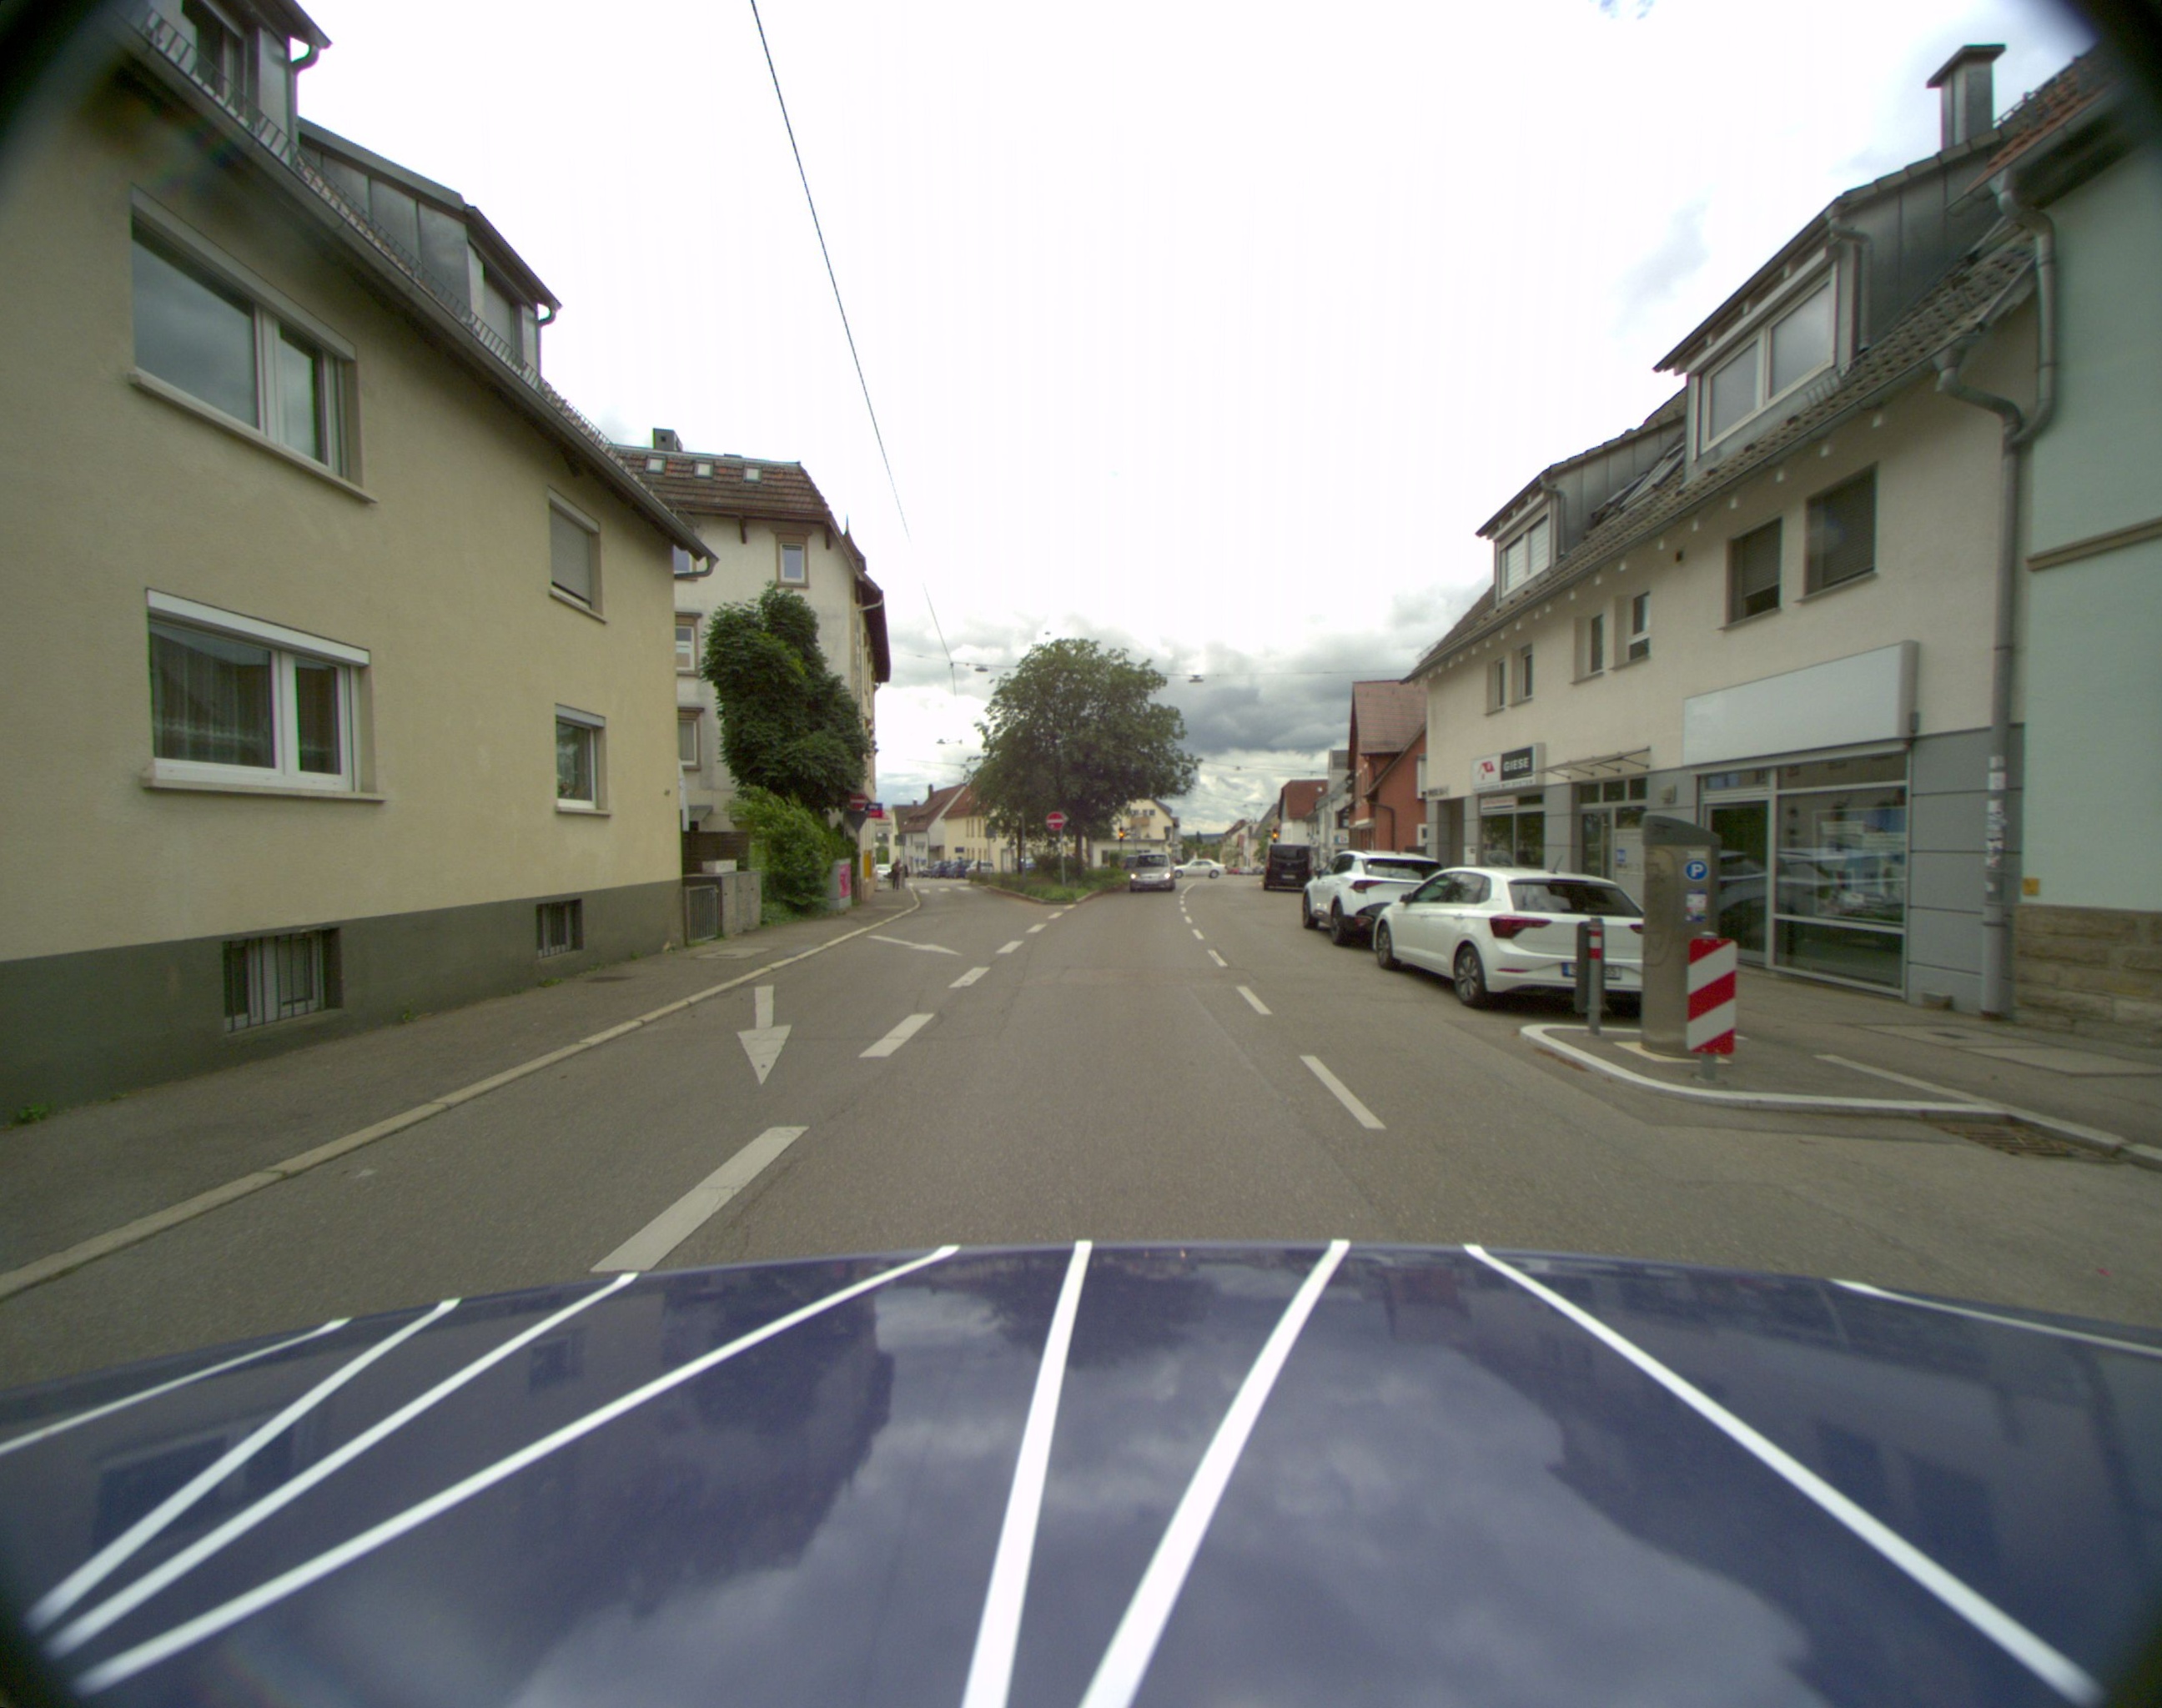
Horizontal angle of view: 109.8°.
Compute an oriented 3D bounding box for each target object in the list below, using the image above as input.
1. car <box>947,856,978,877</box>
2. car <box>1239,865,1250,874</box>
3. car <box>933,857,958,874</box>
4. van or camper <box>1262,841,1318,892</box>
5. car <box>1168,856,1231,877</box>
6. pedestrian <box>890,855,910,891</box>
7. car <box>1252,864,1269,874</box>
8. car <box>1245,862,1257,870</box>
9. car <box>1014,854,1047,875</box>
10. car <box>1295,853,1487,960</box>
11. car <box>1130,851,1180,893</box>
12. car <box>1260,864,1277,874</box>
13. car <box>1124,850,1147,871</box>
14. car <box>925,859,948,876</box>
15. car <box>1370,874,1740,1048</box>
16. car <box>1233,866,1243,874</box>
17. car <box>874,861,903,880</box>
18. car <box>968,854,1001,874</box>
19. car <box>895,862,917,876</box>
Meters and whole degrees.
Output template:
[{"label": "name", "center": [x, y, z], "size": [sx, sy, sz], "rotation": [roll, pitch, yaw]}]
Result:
[{"label": "car", "center": [-11.268, 1.202, 71.992], "size": [1.777, 1.931, 4.317], "rotation": [2, -3, -23]}, {"label": "car", "center": [29.344, 2.785, 136.327], "size": [1.652, 1.438, 3.777], "rotation": [1, -1, 9]}, {"label": "car", "center": [-14.069, 1.223, 78.870], "size": [1.724, 1.720, 3.994], "rotation": [-2, -1, -22]}, {"label": "van or camper", "center": [8.964, 0.505, 32.968], "size": [2.076, 1.994, 4.863], "rotation": [2, 1, 13]}, {"label": "car", "center": [9.054, 0.936, 58.268], "size": [4.563, 1.436, 2.001], "rotation": [2, 0, 5]}, {"label": "pedestrian", "center": [-8.951, 0.927, 37.556], "size": [0.861, 1.722, 1.021], "rotation": [-2, -1, -14]}, {"label": "car", "center": [27.364, 2.308, 116.044], "size": [1.841, 1.436, 4.002], "rotation": [2, -1, 4]}, {"label": "car", "center": [29.248, 2.081, 130.925], "size": [1.652, 1.438, 3.814], "rotation": [1, -1, 7]}, {"label": "car", "center": [-4.693, 0.975, 69.868], "size": [1.904, 1.791, 4.887], "rotation": [-2, -1, -18]}, {"label": "car", "center": [5.433, 0.818, 14.103], "size": [2.002, 1.623, 4.860], "rotation": [-1, 0, 6]}, {"label": "car", "center": [3.126, 0.737, 31.417], "size": [1.720, 1.586, 4.004], "rotation": [-2, -1, 10]}, {"label": "car", "center": [26.603, 2.138, 107.939], "size": [1.841, 1.436, 4.471], "rotation": [2, -1, 7]}, {"label": "car", "center": [4.812, 0.602, 66.440], "size": [1.749, 1.729, 4.575], "rotation": [2, -1, 7]}, {"label": "car", "center": [-15.958, 1.512, 83.854], "size": [1.724, 1.720, 3.994], "rotation": [-2, -1, -22]}, {"label": "car", "center": [4.980, 1.021, 8.769], "size": [2.002, 1.428, 3.919], "rotation": [-1, 0, 4]}, {"label": "car", "center": [31.317, 3.214, 151.714], "size": [1.705, 1.402, 3.738], "rotation": [3, -1, 7]}, {"label": "car", "center": [-16.106, 1.425, 63.394], "size": [1.777, 1.470, 3.824], "rotation": [2, -3, -23]}, {"label": "car", "center": [-8.411, 0.927, 66.153], "size": [1.777, 1.608, 3.993], "rotation": [-2, -1, -23]}, {"label": "car", "center": [-23.535, 2.051, 101.976], "size": [2.285, 1.720, 3.994], "rotation": [-2, -1, -22]}]
